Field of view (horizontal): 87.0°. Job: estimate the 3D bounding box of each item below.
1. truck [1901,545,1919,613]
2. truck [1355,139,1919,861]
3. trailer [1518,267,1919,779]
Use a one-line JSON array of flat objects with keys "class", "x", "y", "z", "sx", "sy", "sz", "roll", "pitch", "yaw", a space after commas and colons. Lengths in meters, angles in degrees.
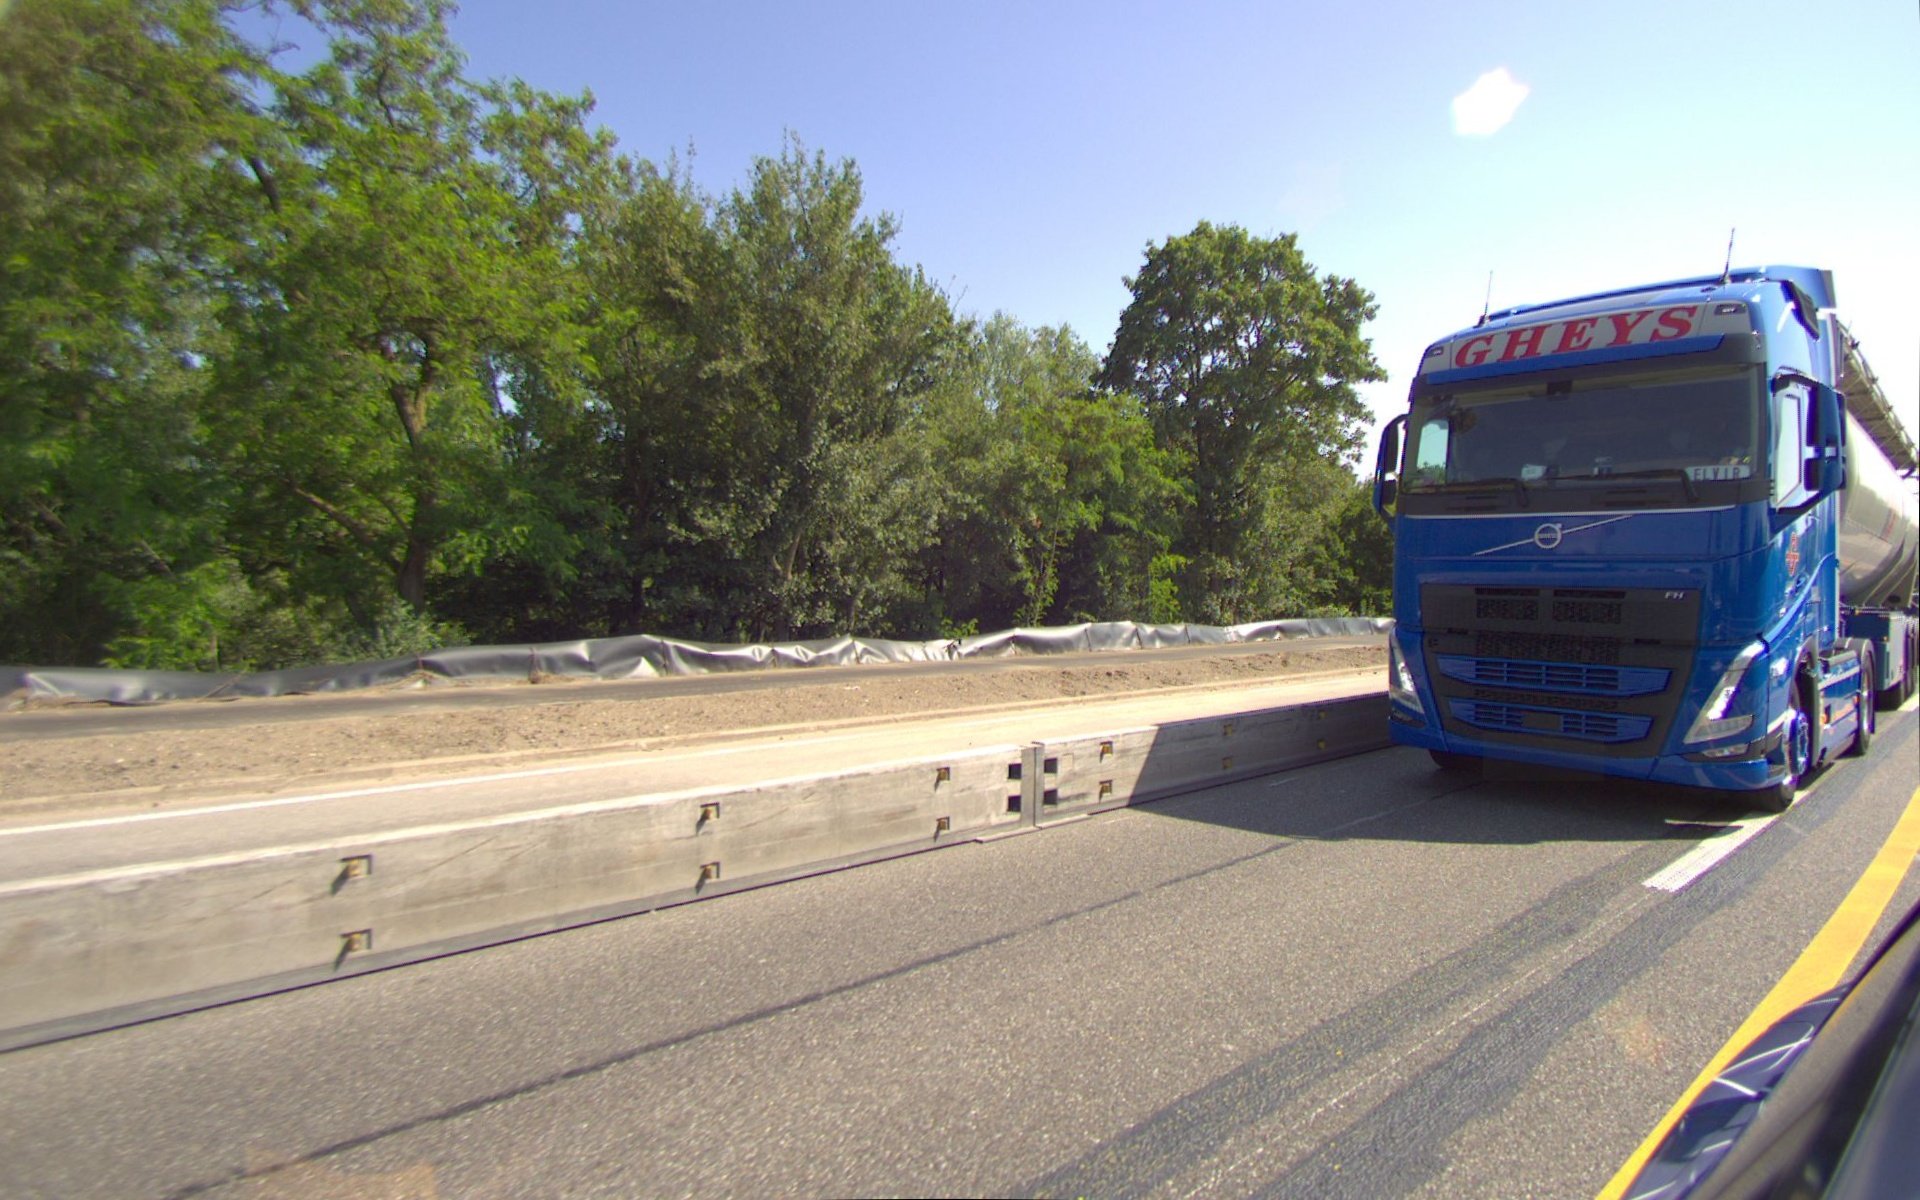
[{"class": "truck", "x": 60.380, "y": -1.218, "z": 62.557, "sx": 2.853, "sy": 4.033, "sz": 8.535, "roll": 4, "pitch": 3, "yaw": 42}, {"class": "truck", "x": 6.673, "y": -0.646, "z": 9.292, "sx": 7.177, "sy": 4.152, "sz": 2.698, "roll": 0, "pitch": 3, "yaw": -43}, {"class": "trailer", "x": 11.170, "y": -0.723, "z": 13.567, "sx": 12.404, "sy": 4.187, "sz": 2.698, "roll": 0, "pitch": 3, "yaw": -44}]
